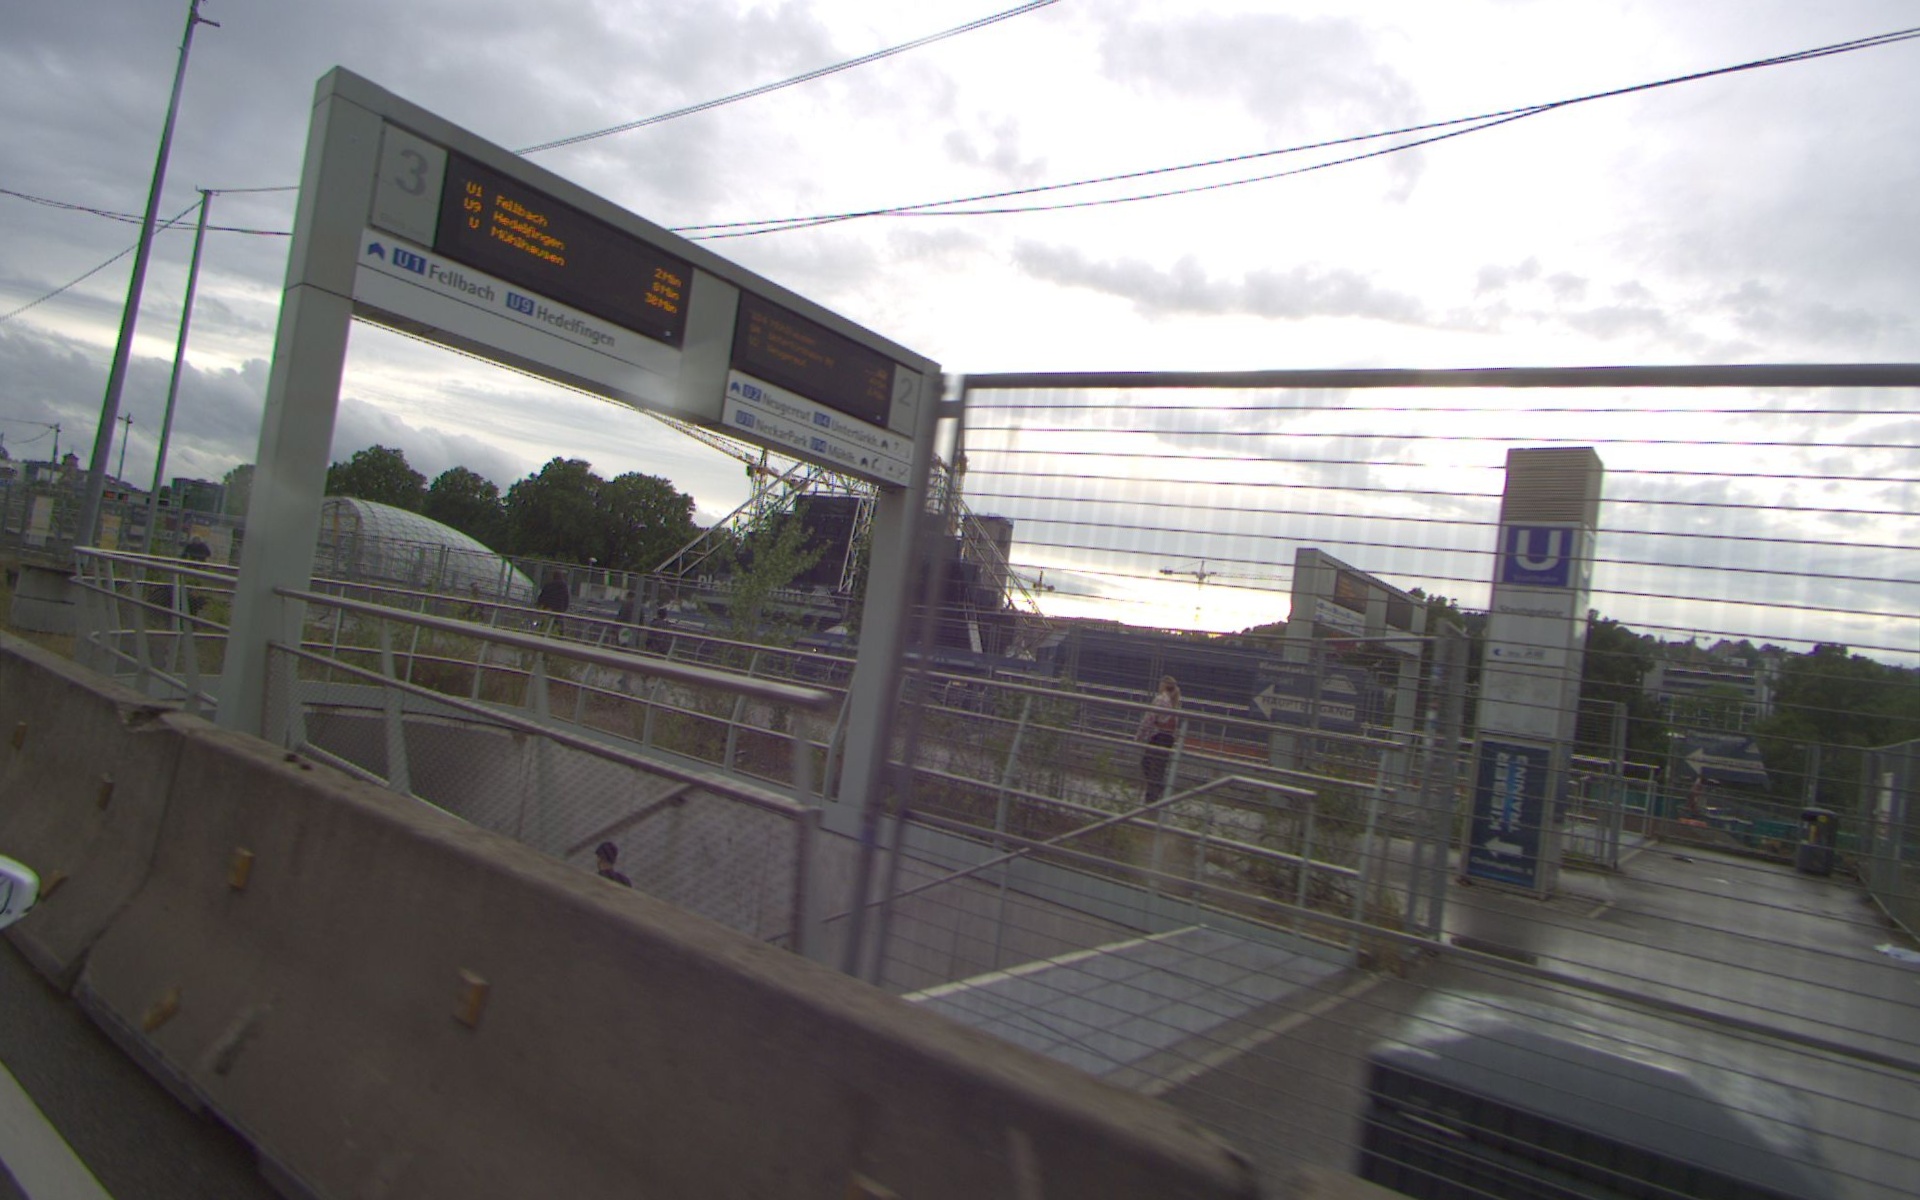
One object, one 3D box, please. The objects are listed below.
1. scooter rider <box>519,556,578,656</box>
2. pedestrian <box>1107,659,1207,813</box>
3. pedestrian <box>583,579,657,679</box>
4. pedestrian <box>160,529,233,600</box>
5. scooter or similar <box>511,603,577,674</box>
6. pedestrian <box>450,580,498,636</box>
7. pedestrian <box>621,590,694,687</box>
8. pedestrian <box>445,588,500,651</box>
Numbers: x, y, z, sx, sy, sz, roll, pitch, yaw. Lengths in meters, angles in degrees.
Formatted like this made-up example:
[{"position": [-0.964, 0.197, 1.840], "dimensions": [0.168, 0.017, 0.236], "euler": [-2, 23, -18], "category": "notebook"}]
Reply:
[{"position": [-7.736, 0.118, 18.907], "dimensions": [0.688, 1.776, 0.521], "euler": [7, -1, 34], "category": "scooter rider"}, {"position": [2.490, 1.704, 12.736], "dimensions": [0.685, 1.799, 0.809], "euler": [8, -1, -32], "category": "pedestrian"}, {"position": [-6.609, 0.564, 19.556], "dimensions": [1.006, 1.799, 0.691], "euler": [6, -1, 31], "category": "pedestrian"}, {"position": [-20.033, -0.921, 26.416], "dimensions": [0.882, 1.677, 1.024], "euler": [7, -1, 8], "category": "pedestrian"}, {"position": [-7.820, 0.720, 18.903], "dimensions": [1.078, 1.193, 0.491], "euler": [7, -1, 34], "category": "scooter or similar"}, {"position": [-14.213, 0.247, 29.418], "dimensions": [0.875, 1.489, 0.692], "euler": [7, -1, 5], "category": "pedestrian"}, {"position": [-6.045, 0.767, 20.138], "dimensions": [1.006, 1.799, 0.727], "euler": [6, -1, 32], "category": "pedestrian"}, {"position": [-13.783, 0.556, 28.464], "dimensions": [1.003, 1.651, 0.692], "euler": [7, -1, 5], "category": "pedestrian"}]
